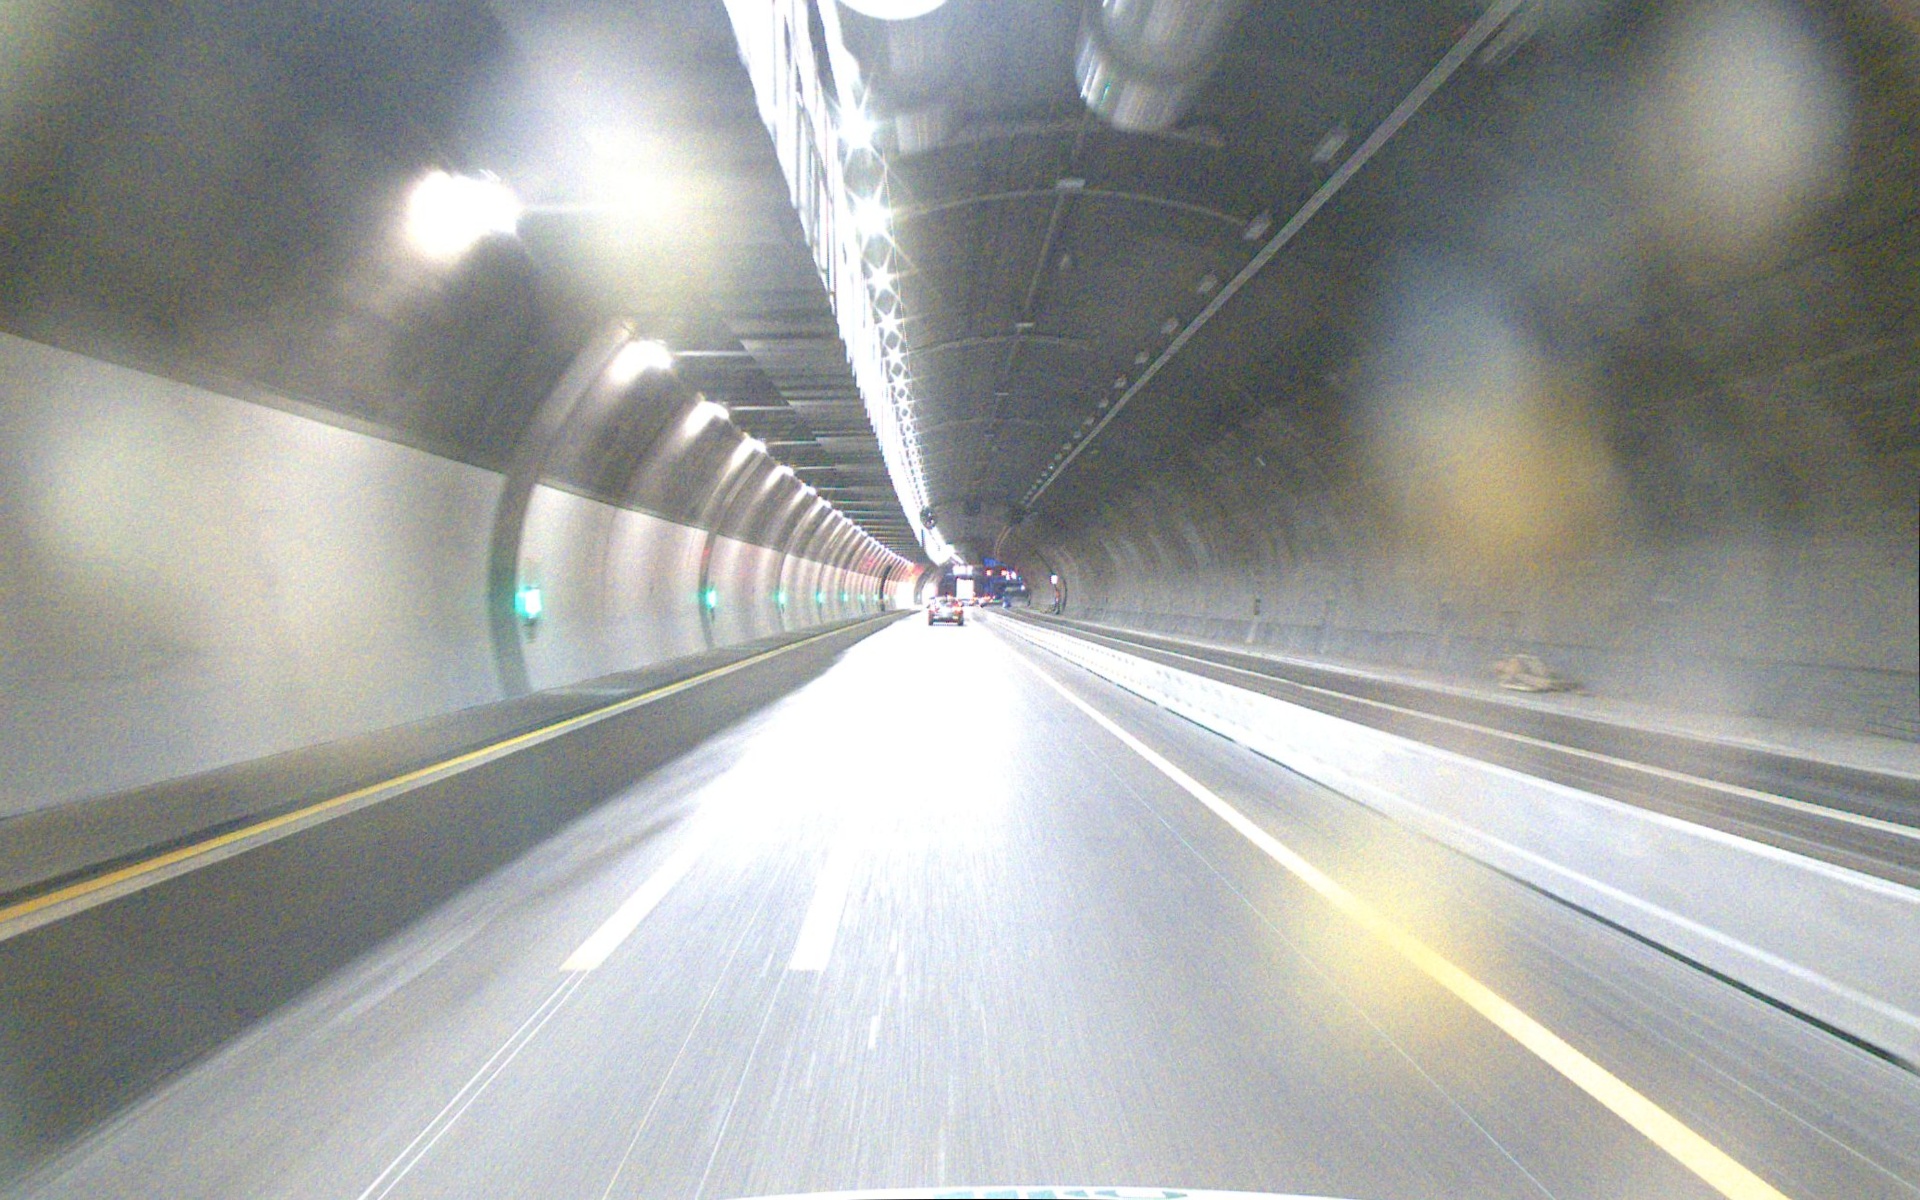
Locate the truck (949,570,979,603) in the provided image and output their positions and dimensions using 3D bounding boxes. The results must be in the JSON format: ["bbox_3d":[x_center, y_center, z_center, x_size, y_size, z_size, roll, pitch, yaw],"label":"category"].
[{"bbox_3d":[0.669,-2.077,261.891,4.452,5.074,9.600,1,0,1],"label":"truck"}]

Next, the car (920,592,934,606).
[{"bbox_3d":[-4.092,-0.131,205.381,1.790,1.635,3.999,1,0,-1],"label":"car"}]

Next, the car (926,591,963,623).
[{"bbox_3d":[-0.829,0.373,86.868,1.849,1.635,3.999,1,0,-1],"label":"car"}]

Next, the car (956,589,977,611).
[{"bbox_3d":[0.614,-0.009,158.953,1.953,2.049,3.999,0,0,-1],"label":"car"}]
